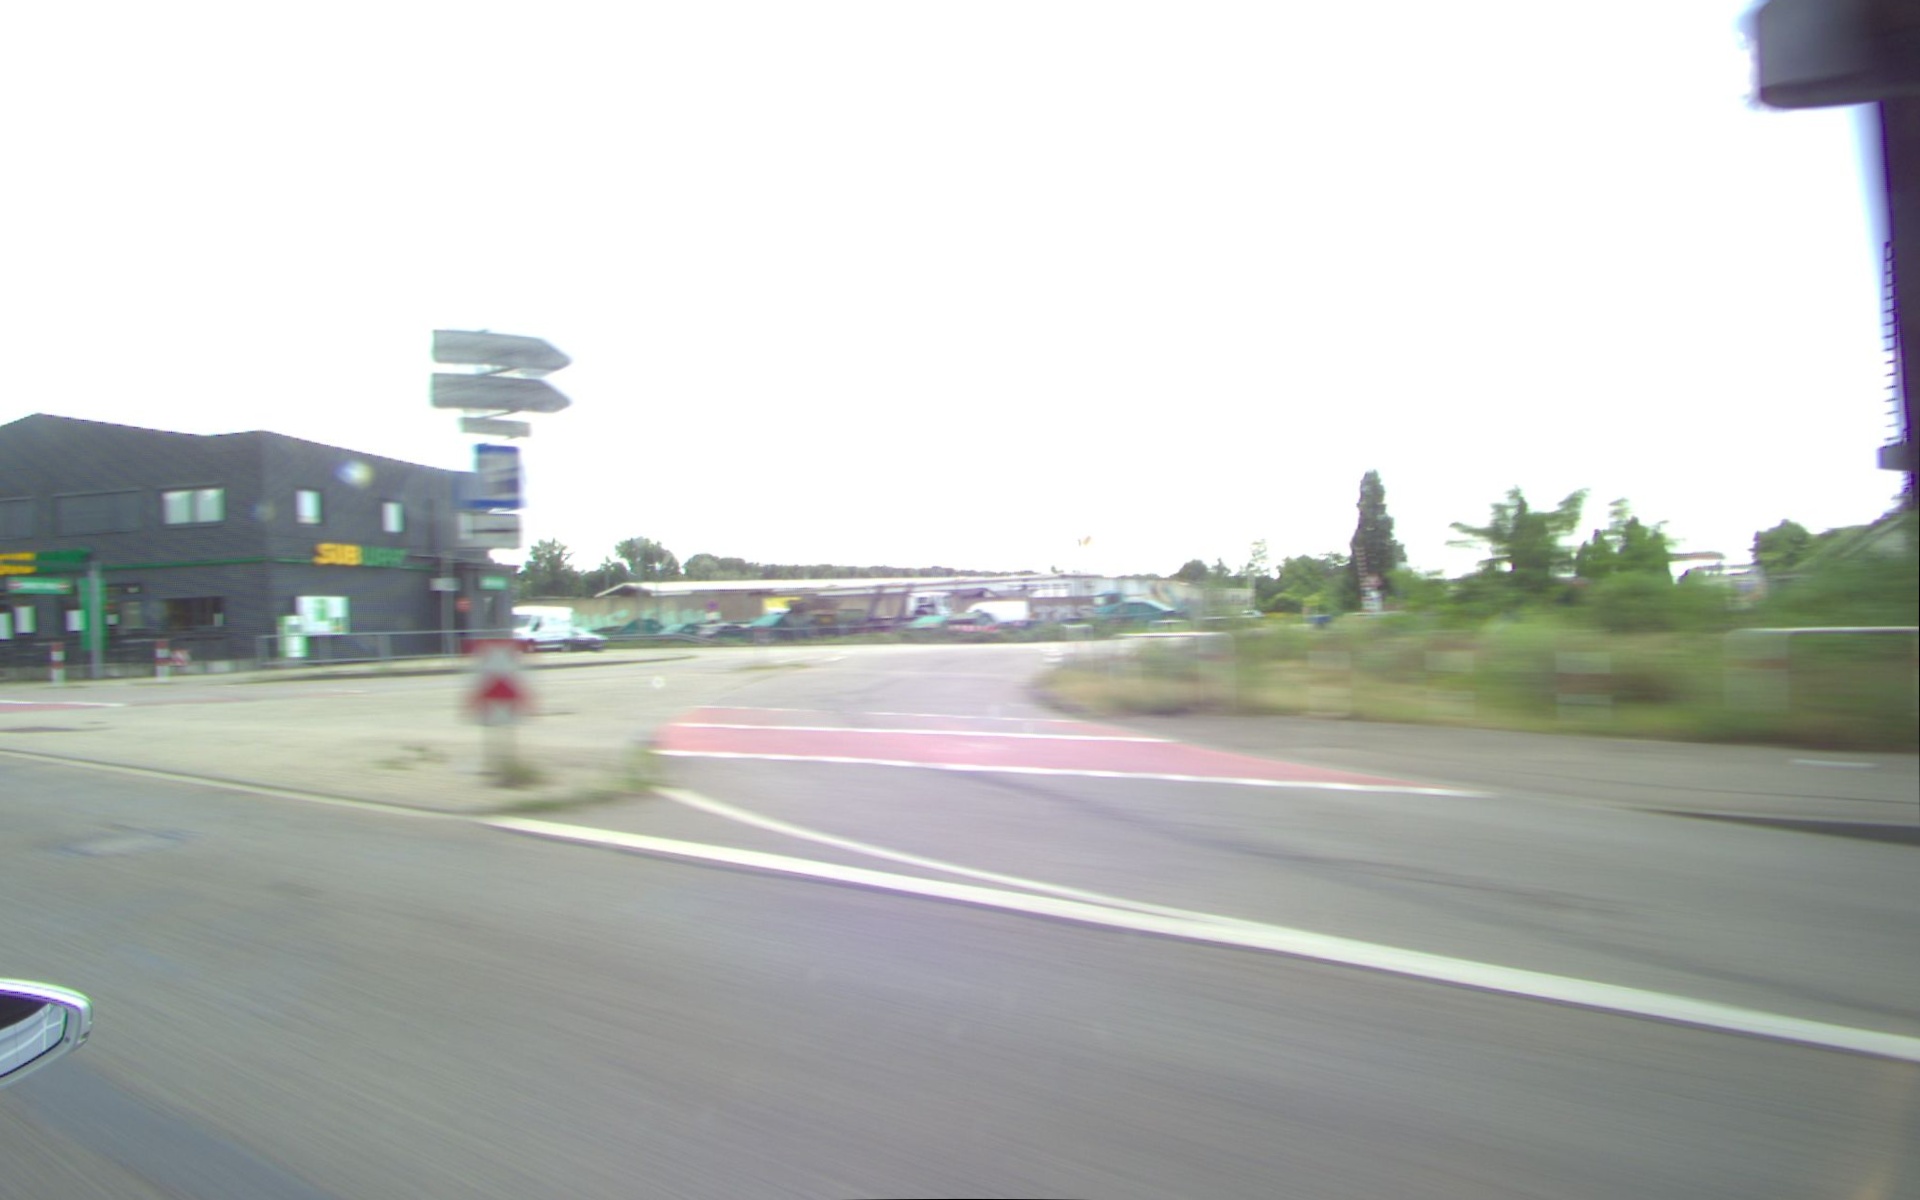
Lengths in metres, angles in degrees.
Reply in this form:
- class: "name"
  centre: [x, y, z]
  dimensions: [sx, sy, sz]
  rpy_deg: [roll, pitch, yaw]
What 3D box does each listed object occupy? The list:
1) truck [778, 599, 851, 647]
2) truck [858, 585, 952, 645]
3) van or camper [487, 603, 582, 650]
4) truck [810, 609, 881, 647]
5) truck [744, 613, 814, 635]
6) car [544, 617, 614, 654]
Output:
- class: "truck"
  centre: [-8.730, 1.393, 60.424]
  dimensions: [2.088, 2.748, 4.317]
  rpy_deg: [-3, -3, 32]
- class: "truck"
  centre: [-3.155, 0.967, 58.634]
  dimensions: [2.672, 3.296, 5.908]
  rpy_deg: [-3, -3, 30]
- class: "van or camper"
  centre: [-21.588, 1.420, 51.188]
  dimensions: [2.085, 2.200, 6.252]
  rpy_deg: [-2, -2, 1]
- class: "truck"
  centre: [-6.686, 1.675, 58.993]
  dimensions: [1.950, 2.110, 4.320]
  rpy_deg: [-3, -3, 29]
- class: "truck"
  centre: [-10.971, 1.482, 60.990]
  dimensions: [1.853, 1.235, 4.319]
  rpy_deg: [-3, -3, 31]
- class: "car"
  centre: [-21.935, 2.043, 57.608]
  dimensions: [3.826, 2.040, 1.745]
  rpy_deg: [-2, 0, 32]
